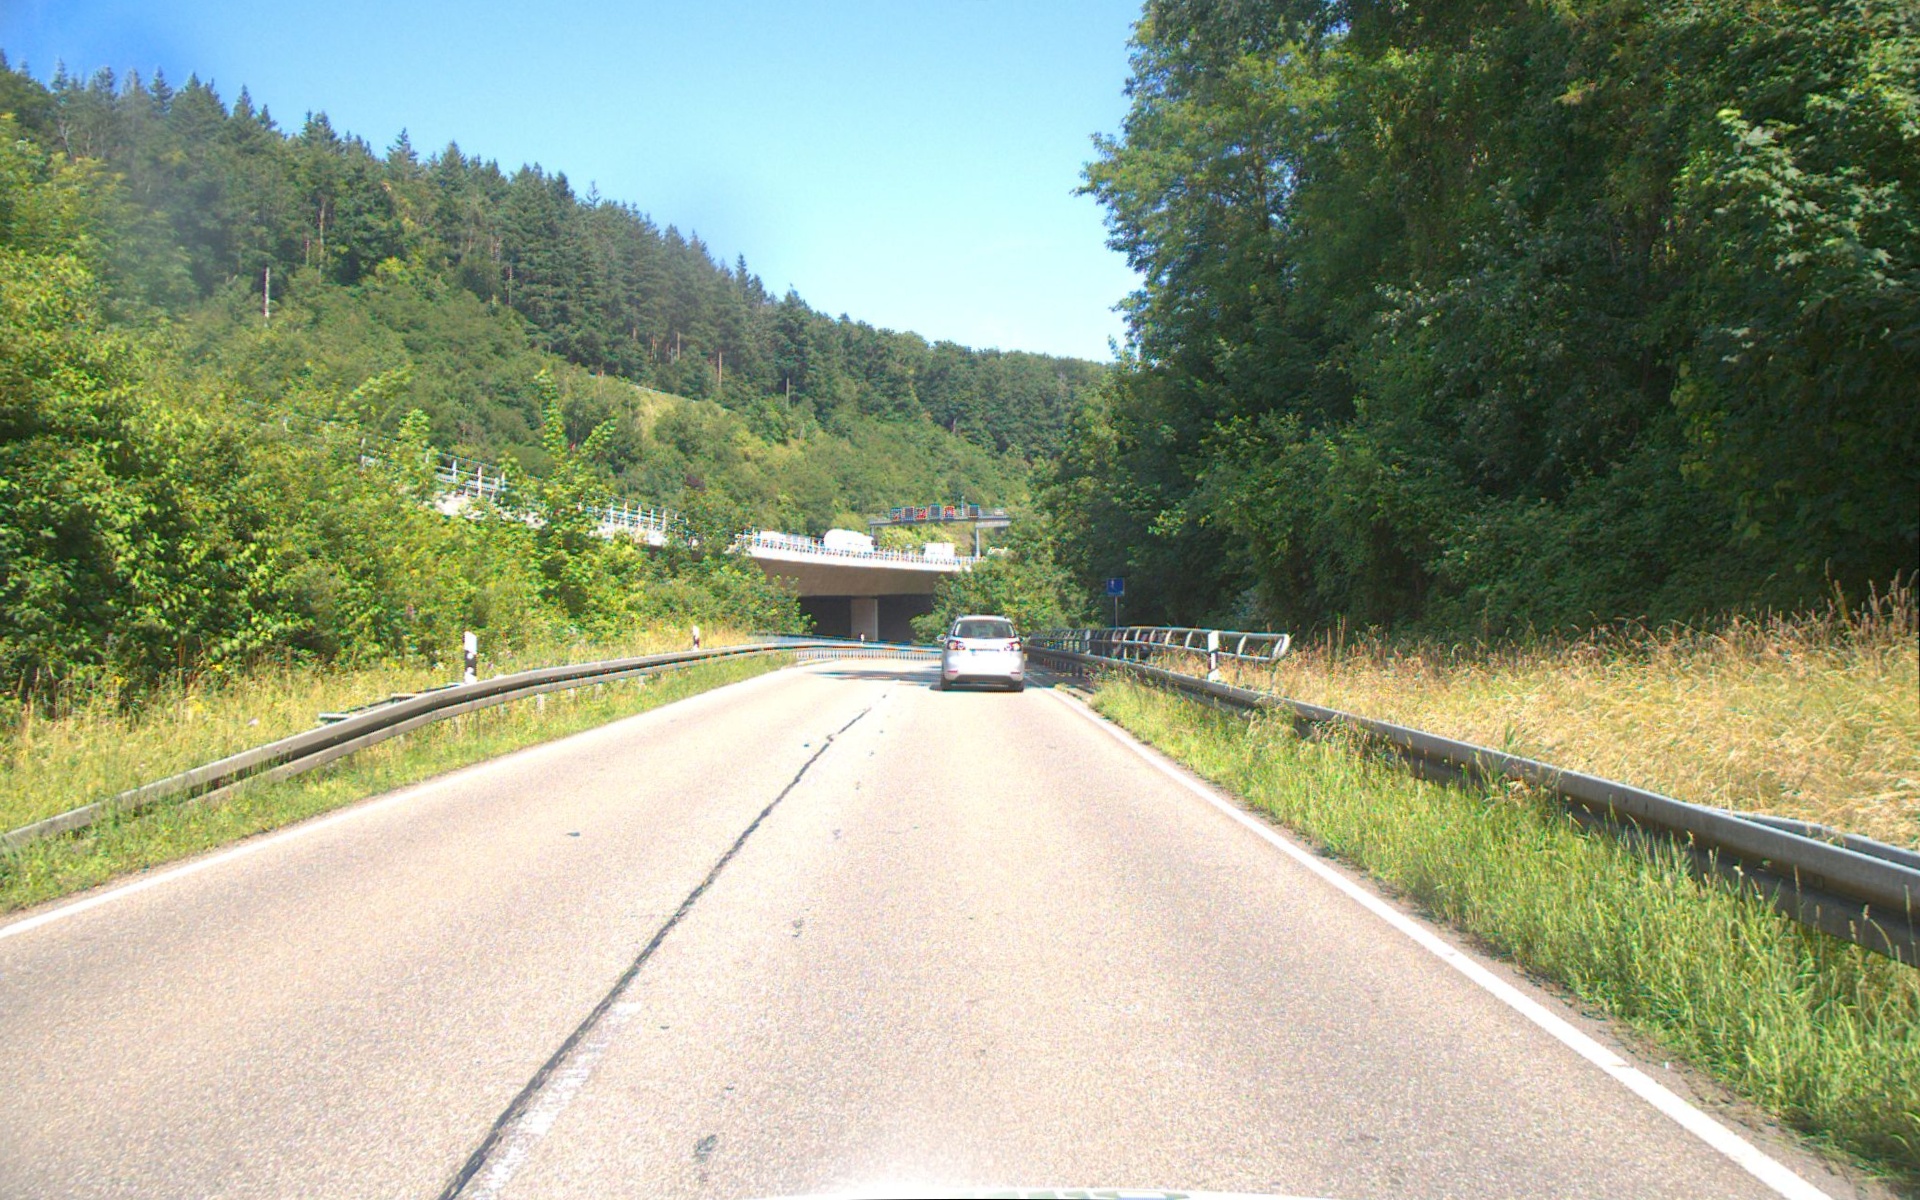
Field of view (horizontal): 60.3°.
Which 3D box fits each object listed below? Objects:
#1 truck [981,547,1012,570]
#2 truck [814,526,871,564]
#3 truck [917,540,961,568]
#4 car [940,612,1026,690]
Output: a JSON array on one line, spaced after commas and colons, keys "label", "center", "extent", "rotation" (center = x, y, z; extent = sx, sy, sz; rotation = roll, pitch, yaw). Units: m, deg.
[{"label": "truck", "center": [5.865, -6.547, 263.553], "extent": [3.465, 3.483, 9.907], "rotation": [1, 0, 11]}, {"label": "truck", "center": [-11.915, -5.597, 168.528], "extent": [3.298, 3.413, 10.184], "rotation": [1, 0, 10]}, {"label": "truck", "center": [-2.715, -6.068, 218.814], "extent": [3.679, 3.444, 10.516], "rotation": [1, 0, 11]}, {"label": "car", "center": [0.444, 1.058, 35.440], "extent": [1.715, 1.546, 4.158], "rotation": [1, -1, -1]}]
